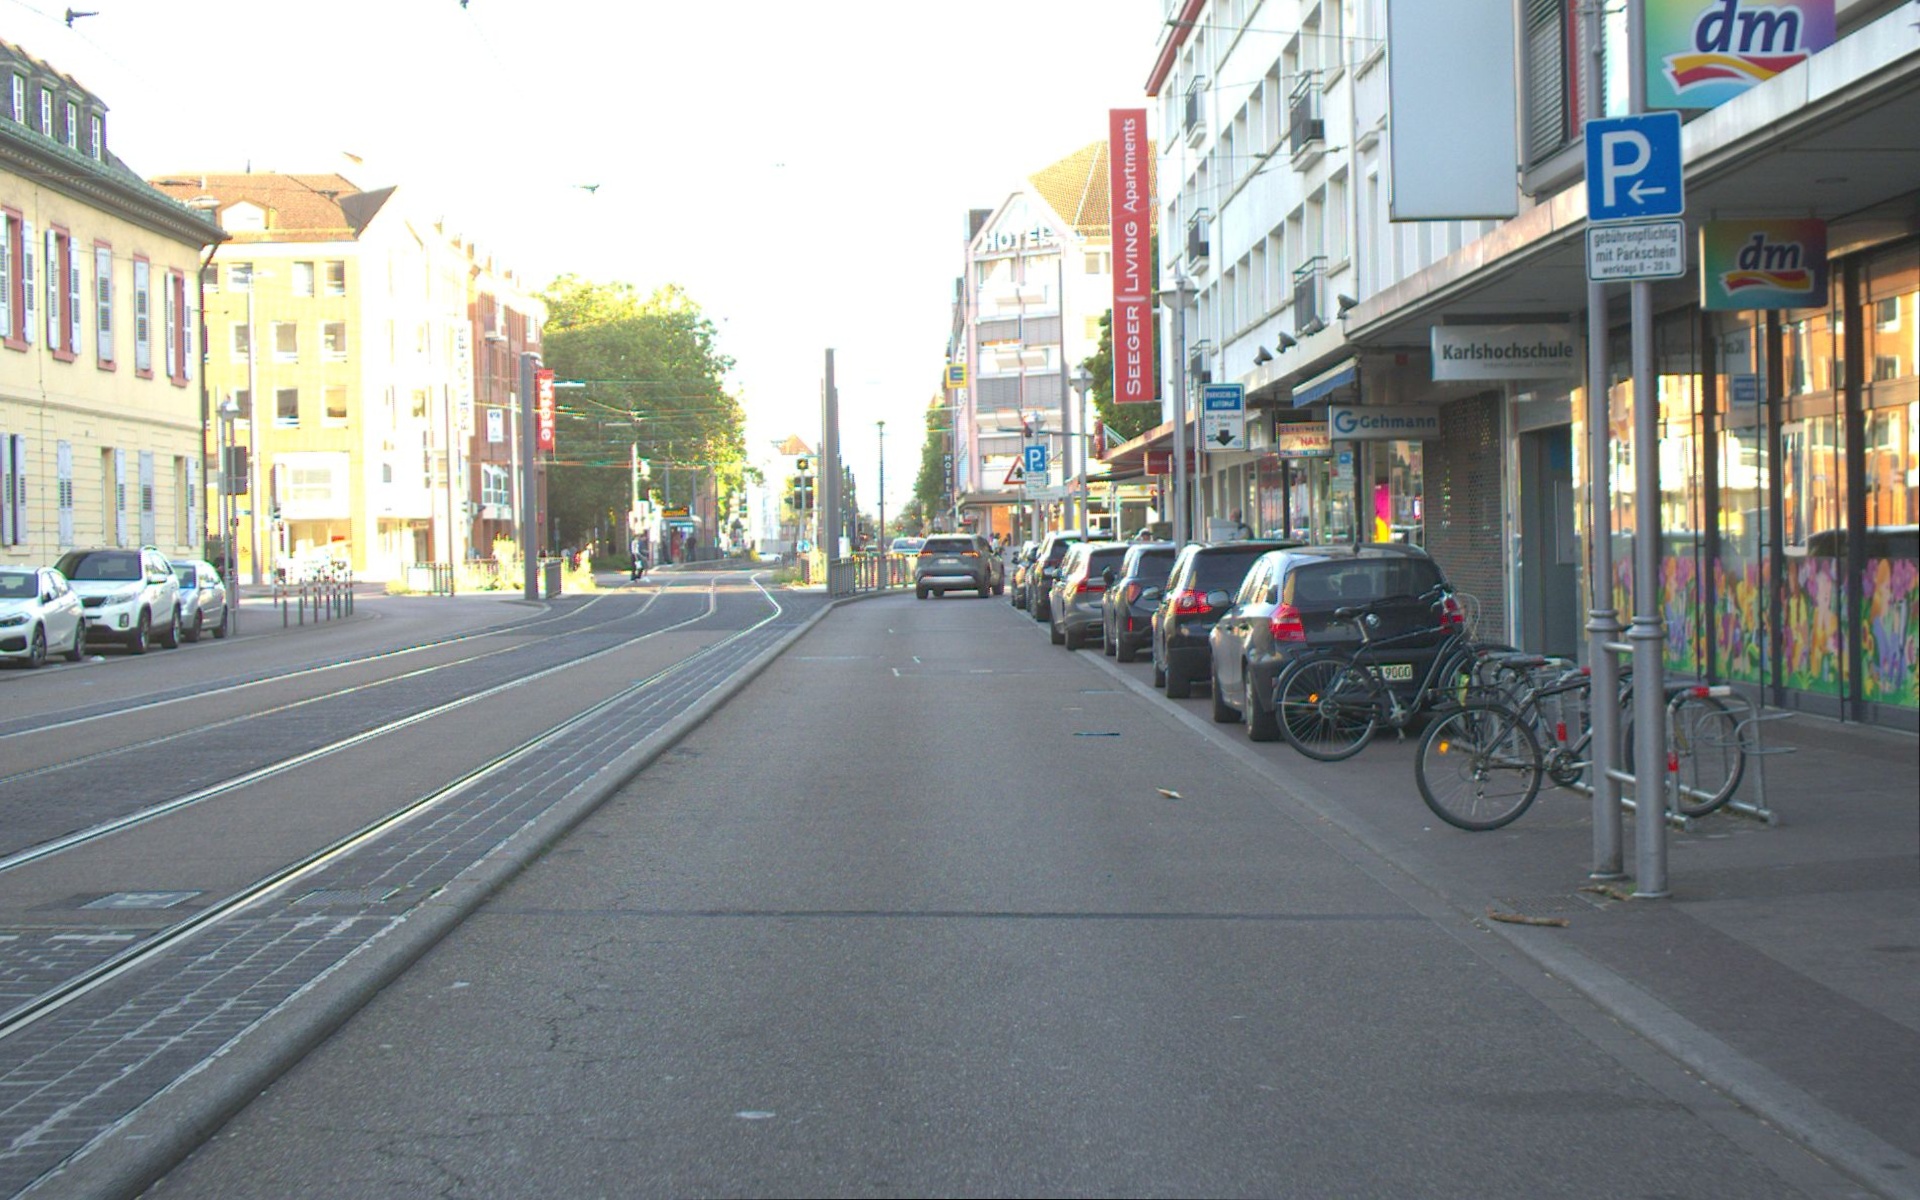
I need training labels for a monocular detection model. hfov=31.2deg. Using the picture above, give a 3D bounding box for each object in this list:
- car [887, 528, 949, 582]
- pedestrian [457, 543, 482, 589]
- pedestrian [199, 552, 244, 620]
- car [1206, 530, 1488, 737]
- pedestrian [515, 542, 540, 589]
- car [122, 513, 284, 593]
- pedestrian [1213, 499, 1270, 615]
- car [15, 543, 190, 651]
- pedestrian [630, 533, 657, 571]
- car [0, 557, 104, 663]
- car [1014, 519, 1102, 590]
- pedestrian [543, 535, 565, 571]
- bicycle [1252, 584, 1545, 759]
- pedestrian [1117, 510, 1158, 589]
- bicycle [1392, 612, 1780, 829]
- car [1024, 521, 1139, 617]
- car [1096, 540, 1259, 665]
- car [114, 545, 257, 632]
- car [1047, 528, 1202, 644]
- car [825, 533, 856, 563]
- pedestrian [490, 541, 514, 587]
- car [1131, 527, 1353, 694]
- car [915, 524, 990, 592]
[{"bbox_3d":[-1.447,-1.551,118.671,1.993,1.590,4.000,-5,-1,0],"label":"car"},{"bbox_3d":[-14.759,-1.025,103.386,0.663,1.370,0.652,-1,1,-3],"label":"pedestrian"},{"bbox_3d":[-16.767,-0.316,78.101,0.799,1.536,0.877,1,0,1],"label":"pedestrian"},{"bbox_3d":[2.905,0.220,26.552,1.654,1.458,4.023,1,1,-1],"label":"car"},{"bbox_3d":[-13.046,-1.046,103.782,0.663,1.370,0.652,-2,1,-3],"label":"pedestrian"},{"bbox_3d":[-19.954,-1.248,90.591,3.986,2.007,2.001,-1,1,-17],"label":"car"},{"bbox_3d":[4.657,-0.712,56.904,0.774,1.874,0.935,-1,1,-2],"label":"pedestrian"},{"bbox_3d":[-13.988,-0.086,56.330,1.886,1.655,4.762,1,1,-3],"label":"car"},{"bbox_3d":[-11.531,-1.752,125.344,0.903,1.370,0.854,-1,1,-3],"label":"pedestrian"},{"bbox_3d":[-13.971,0.117,50.633,1.721,1.448,4.284,1,1,-1],"label":"car"},{"bbox_3d":[2.018,-0.954,71.790,1.651,1.416,4.191,1,1,-1],"label":"car"},{"bbox_3d":[-22.990,-2.642,194.656,1.093,2.007,1.163,1,0,-3],"label":"pedestrian"},{"bbox_3d":[2.947,0.470,23.179,1.839,1.106,0.642,-2,1,-4],"label":"bicycle"},{"bbox_3d":[3.607,-1.029,69.937,0.733,1.568,0.967,-1,1,-1],"label":"pedestrian"},{"bbox_3d":[3.153,0.598,17.381,1.794,0.969,0.576,-3,1,-3],"label":"bicycle"},{"bbox_3d":[2.208,-0.584,63.690,1.856,1.695,4.418,1,1,-1],"label":"car"},{"bbox_3d":[2.681,0.007,43.146,1.726,1.476,4.000,1,1,-1],"label":"car"},{"bbox_3d":[-14.002,-0.234,62.333,1.748,1.469,4.000,1,1,-1],"label":"car"},{"bbox_3d":[2.279,-0.216,48.709,1.791,1.528,4.857,1,1,-2],"label":"car"},{"bbox_3d":[-8.186,-3.589,235.829,1.955,2.007,4.000,1,1,-1],"label":"car"},{"bbox_3d":[-13.789,-1.072,103.539,0.663,1.370,0.652,0,1,-3],"label":"pedestrian"},{"bbox_3d":[2.691,0.078,33.614,1.765,1.508,4.072,1,1,-1],"label":"car"},{"bbox_3d":[-0.170,-1.063,89.314,1.835,1.630,4.090,-2,0,0],"label":"car"}]
